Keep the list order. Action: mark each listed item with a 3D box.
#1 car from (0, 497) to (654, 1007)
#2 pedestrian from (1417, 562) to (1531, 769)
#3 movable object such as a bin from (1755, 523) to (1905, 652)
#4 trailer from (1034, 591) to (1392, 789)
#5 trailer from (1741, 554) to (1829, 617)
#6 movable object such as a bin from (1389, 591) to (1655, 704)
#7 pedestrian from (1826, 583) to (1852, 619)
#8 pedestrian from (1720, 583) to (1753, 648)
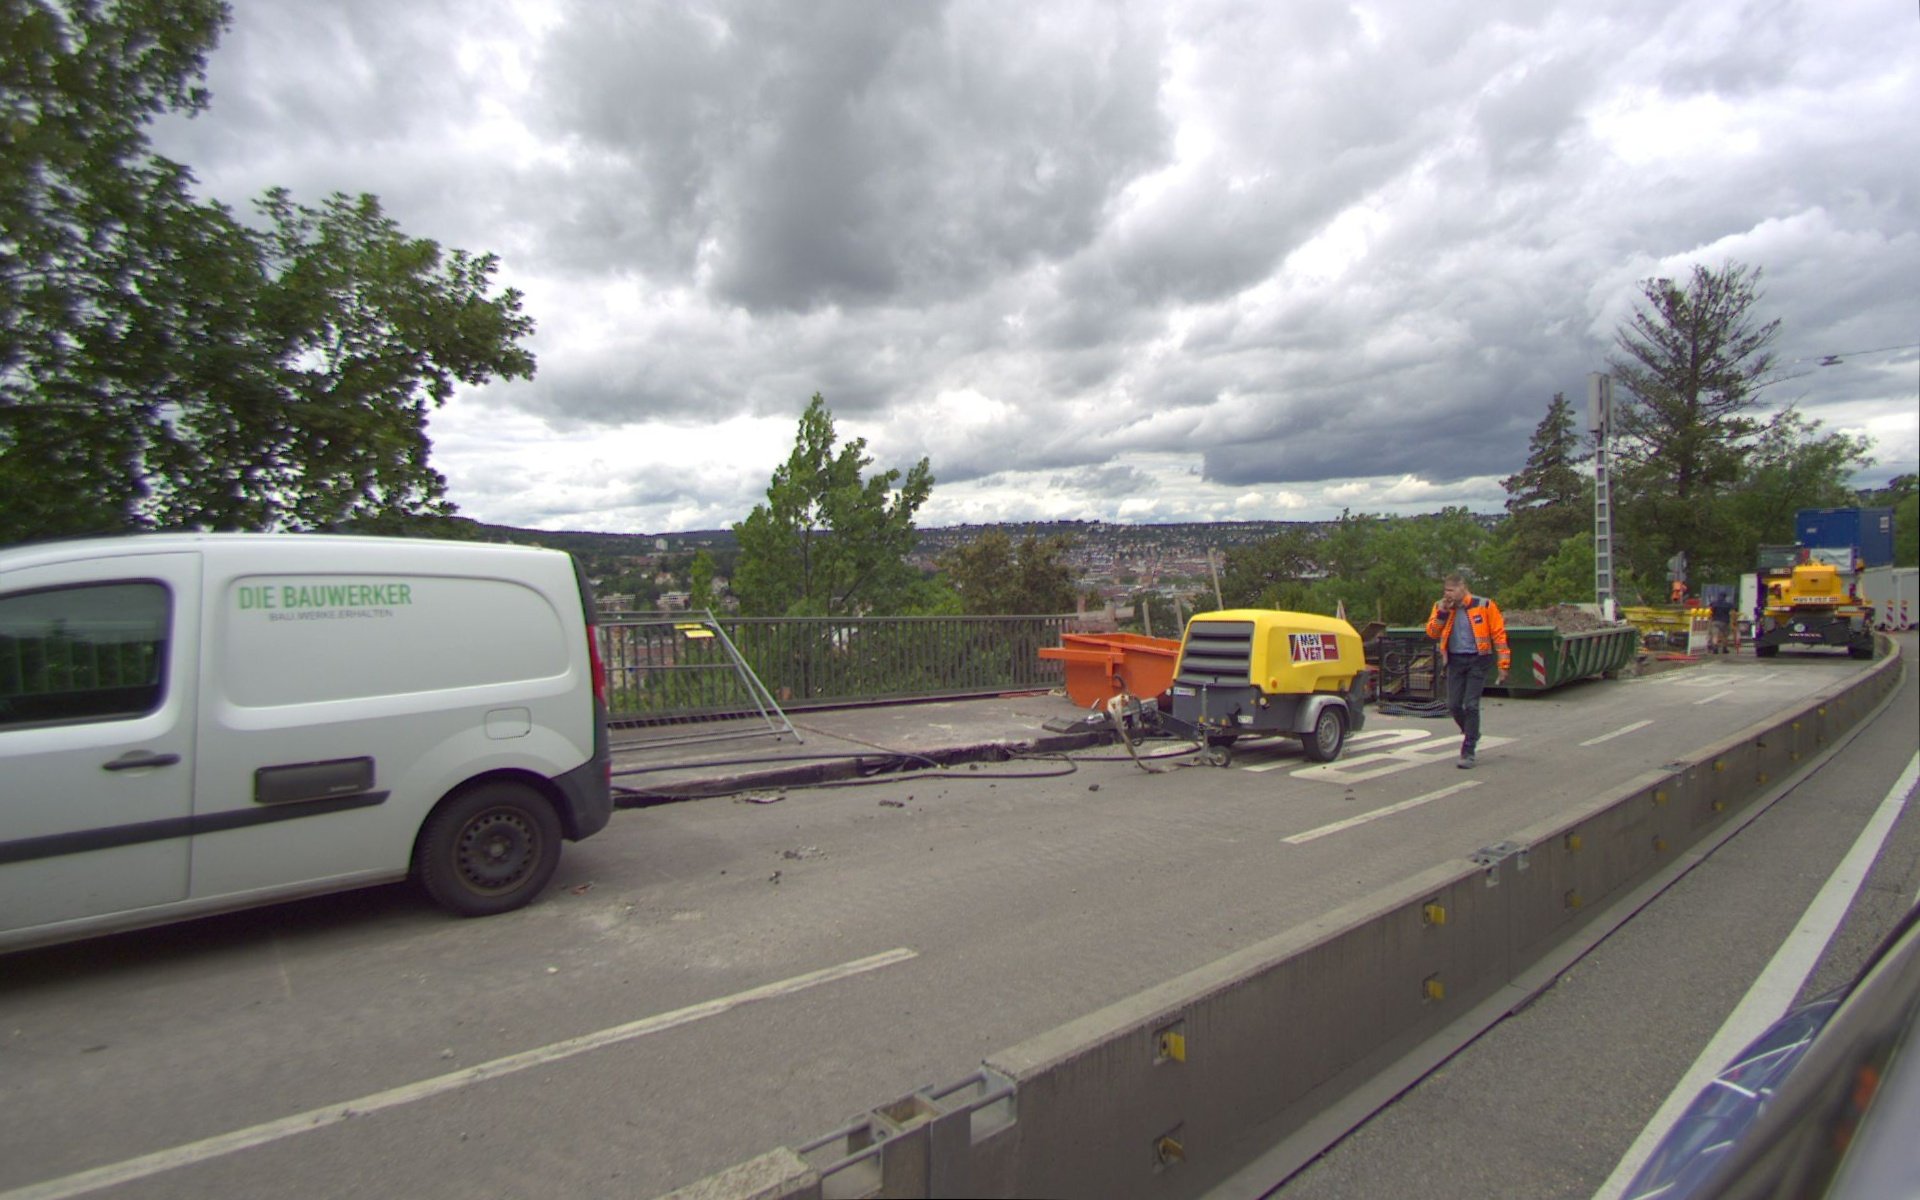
[{"bbox_3d":[-3.742,0.531,4.492,4.193,1.802,1.836,0,0,-40],"label":"car"},{"bbox_3d":[4.558,0.552,8.974,0.836,1.723,0.645,1,-2,-45],"label":"pedestrian"},{"bbox_3d":[24.102,-0.302,28.103,2.809,3.110,7.706,0,0,41],"label":"movable object such as a bin"},{"bbox_3d":[2.423,0.675,9.263,3.568,1.494,1.291,0,0,-38],"label":"trailer"},{"bbox_3d":[36.494,-0.638,44.712,5.030,2.581,2.111,0,2,-41],"label":"trailer"},{"bbox_3d":[9.941,0.643,17.497,2.374,1.581,6.988,0,0,43],"label":"movable object such as a bin"},{"bbox_3d":[41.518,0.053,47.796,0.640,1.682,0.648,-1,-1,12],"label":"pedestrian"},{"bbox_3d":[21.888,0.434,28.524,0.686,1.818,0.533,0,-1,33],"label":"pedestrian"}]
